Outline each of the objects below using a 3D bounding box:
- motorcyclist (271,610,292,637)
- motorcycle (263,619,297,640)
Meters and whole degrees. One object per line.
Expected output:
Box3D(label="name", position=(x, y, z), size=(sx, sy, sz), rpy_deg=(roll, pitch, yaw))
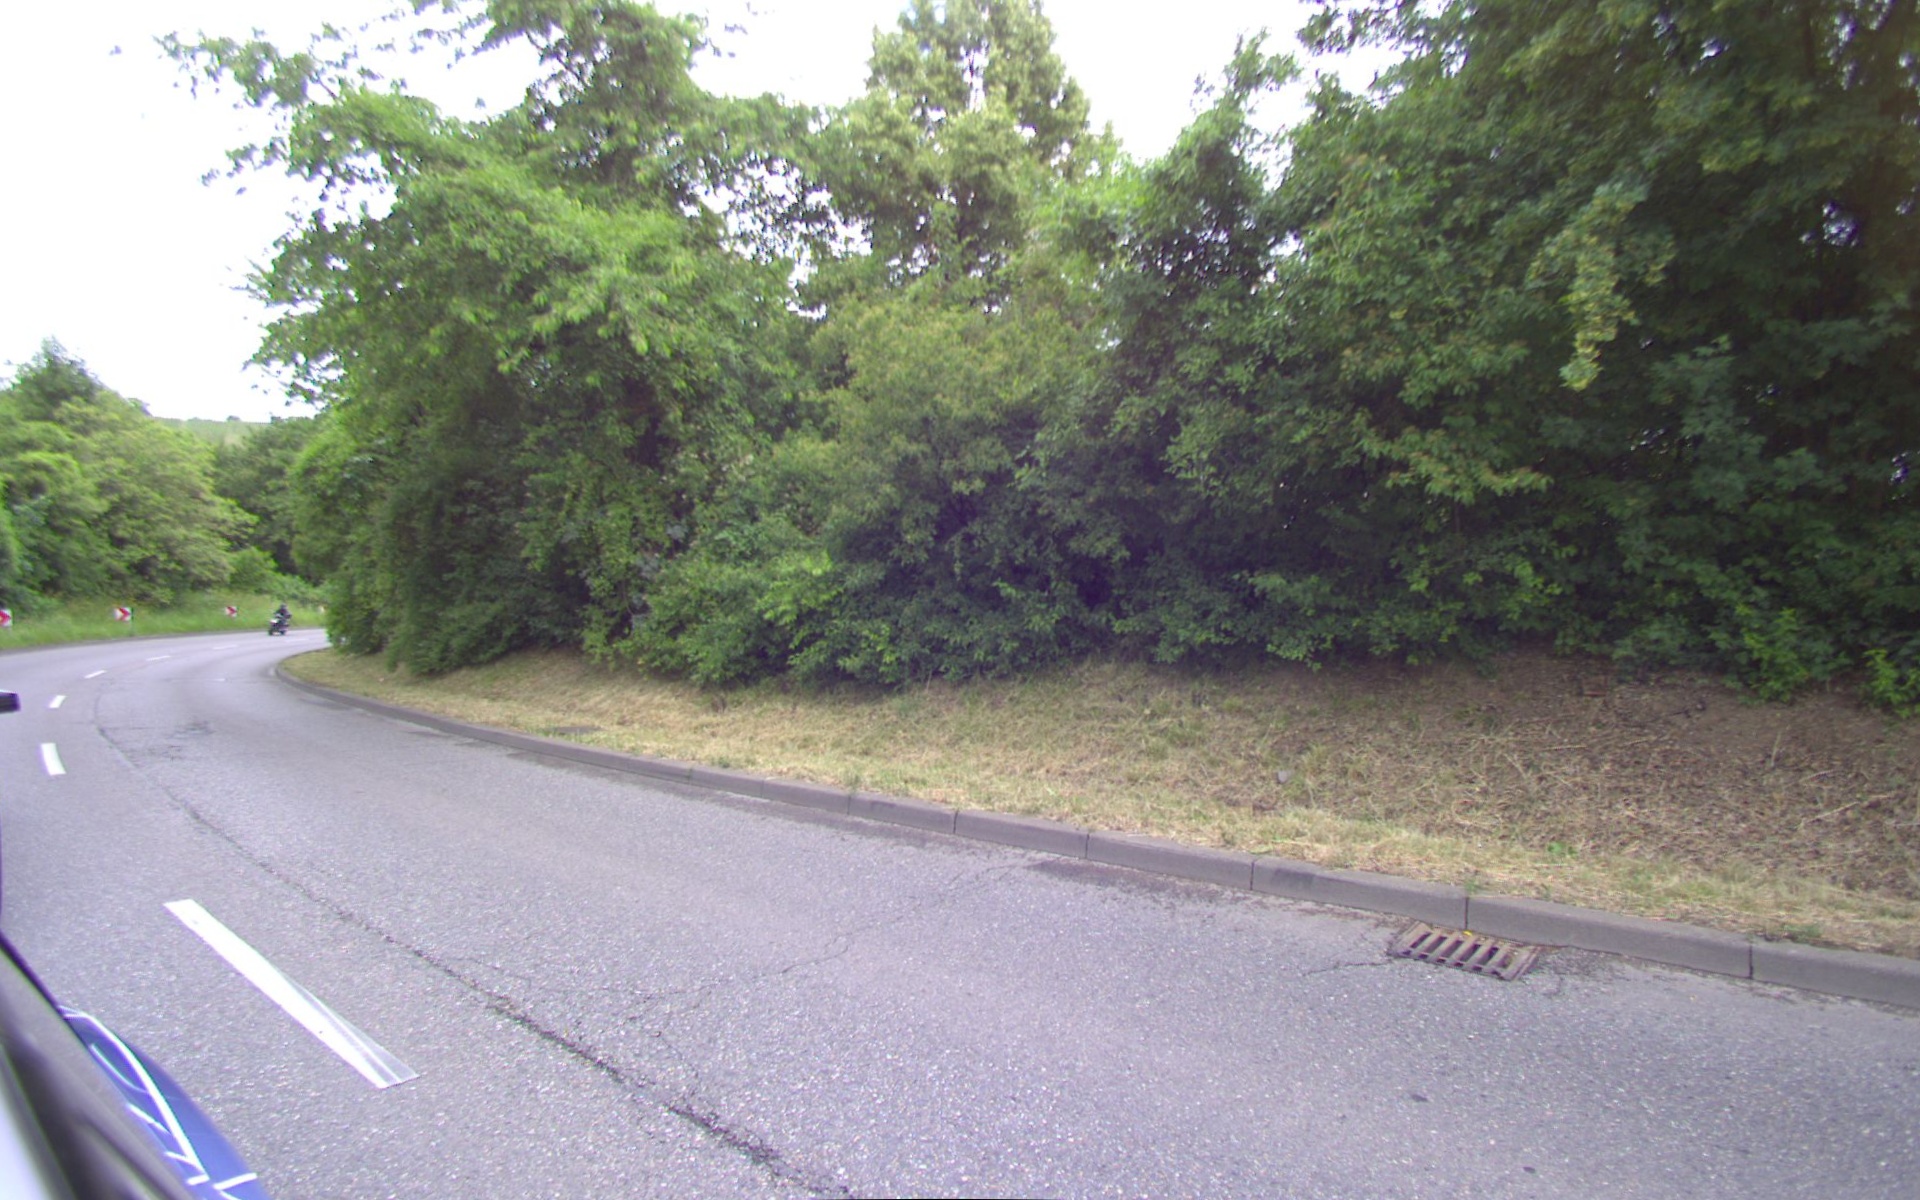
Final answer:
Box3D(label="motorcyclist", position=(-34.650, 1.201, 51.666), size=(0.559, 1.304, 0.708), rpy_deg=(3, -1, -7))
Box3D(label="motorcycle", position=(-34.656, 1.478, 51.602), size=(0.668, 1.019, 1.677), rpy_deg=(3, -1, -7))
